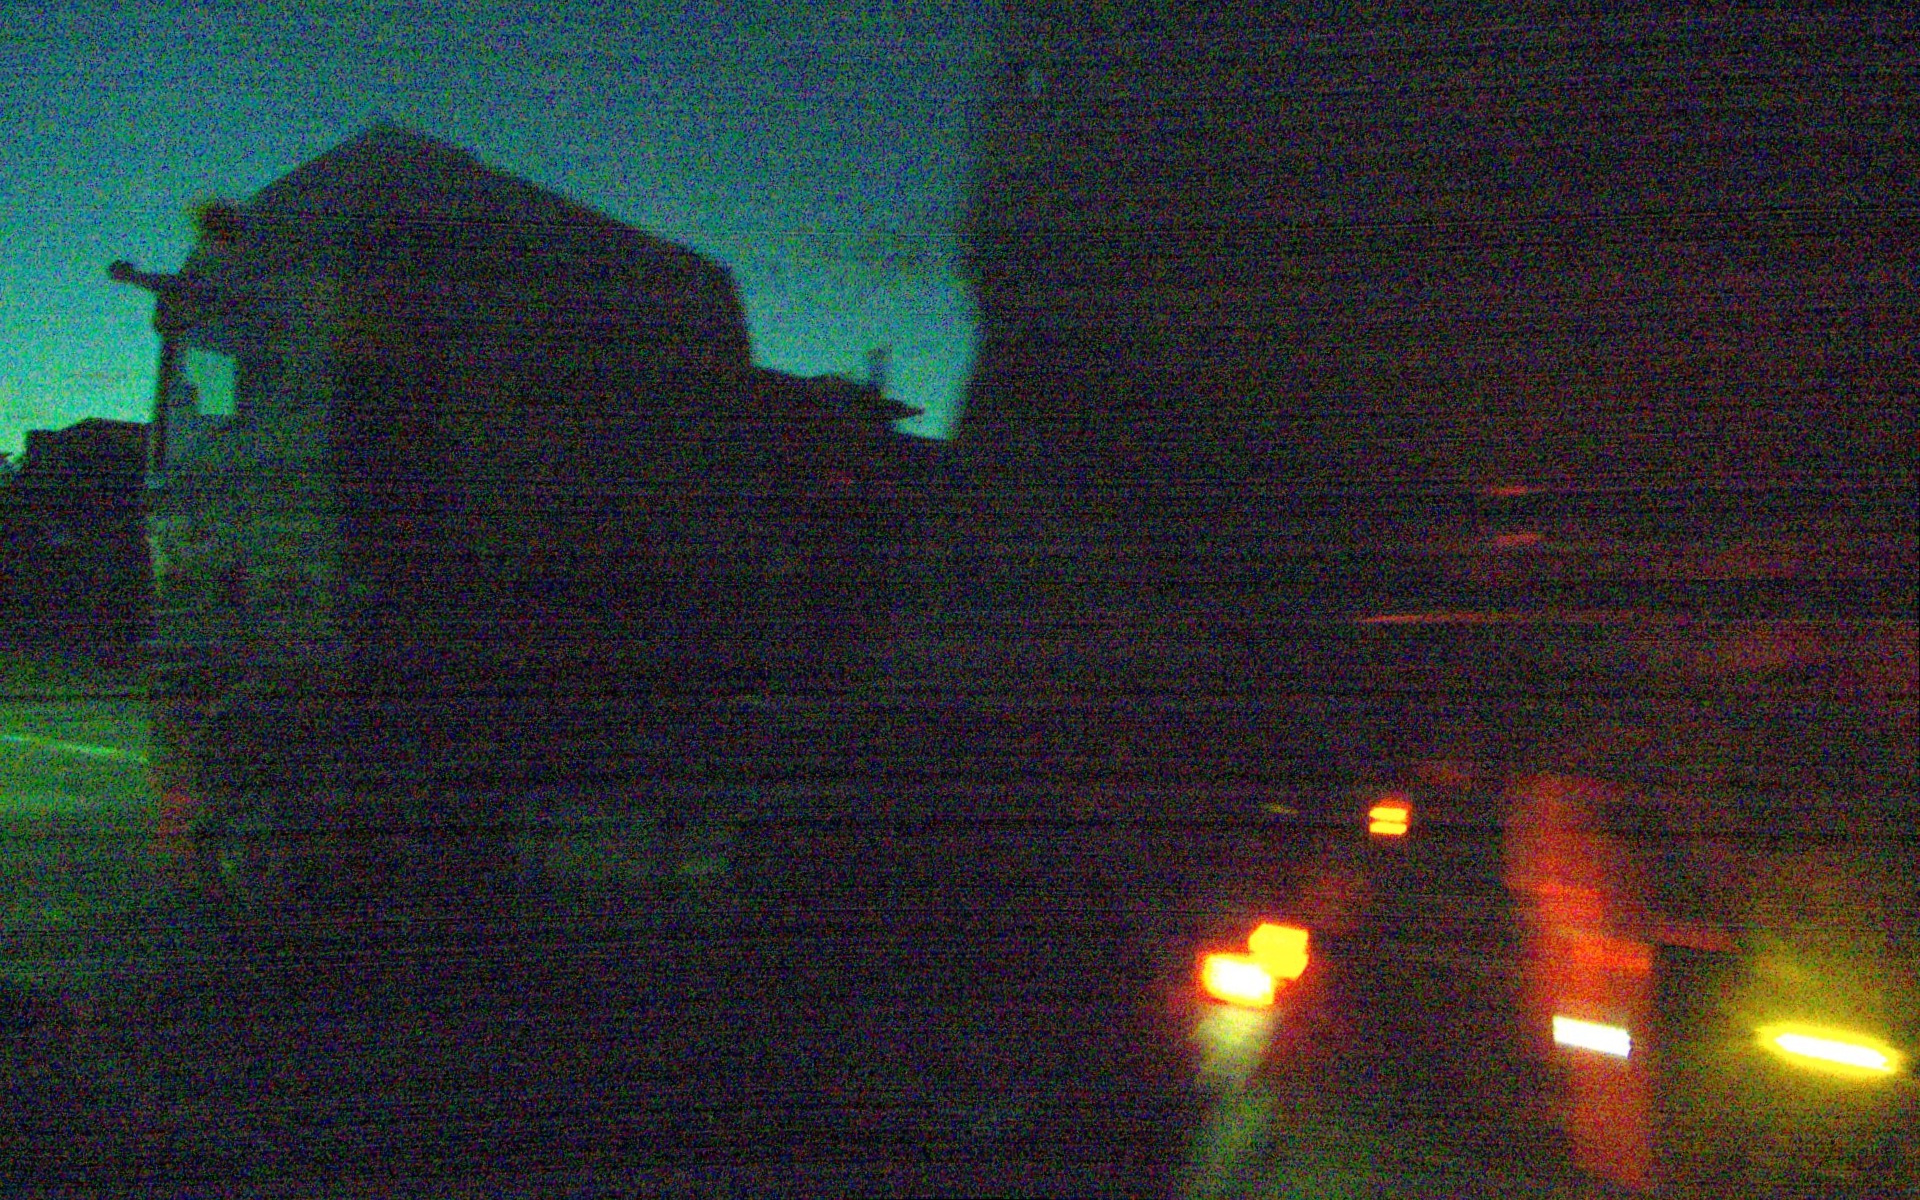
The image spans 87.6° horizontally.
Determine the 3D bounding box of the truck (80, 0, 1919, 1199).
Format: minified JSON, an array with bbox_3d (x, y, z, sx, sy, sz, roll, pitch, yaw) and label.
[{"bbox_3d":[1.737,-0.565,2.784,12.952,4.159,2.683,-1,-1,32],"label":"truck"}]
